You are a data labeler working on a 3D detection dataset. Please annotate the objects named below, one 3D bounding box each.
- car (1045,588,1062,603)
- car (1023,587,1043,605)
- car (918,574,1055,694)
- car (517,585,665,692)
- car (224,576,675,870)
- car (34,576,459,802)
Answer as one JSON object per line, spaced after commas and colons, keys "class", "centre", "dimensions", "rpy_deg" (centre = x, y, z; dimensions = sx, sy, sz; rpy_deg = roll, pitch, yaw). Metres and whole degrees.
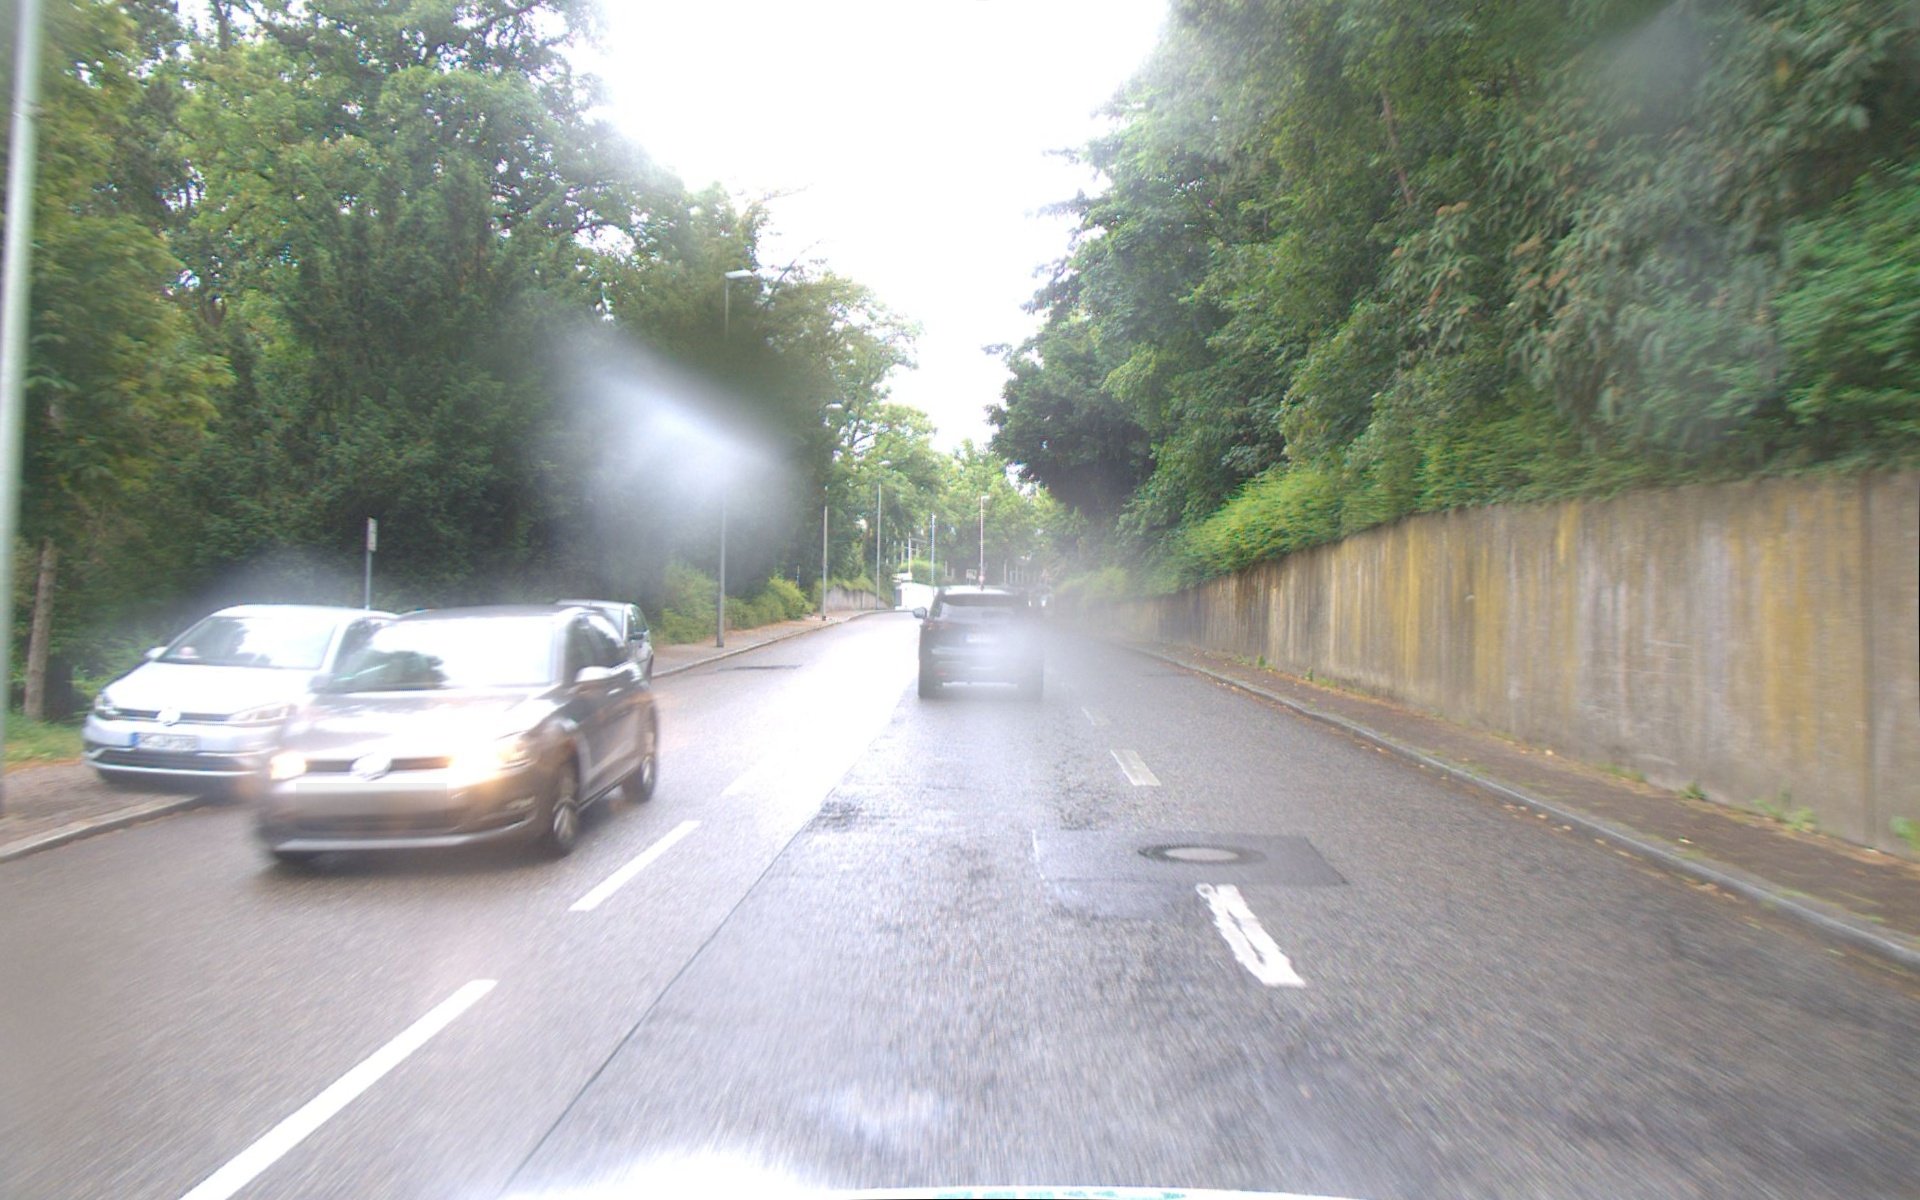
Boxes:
{"class": "car", "centre": [9.624, -0.503, 170.589], "dimensions": [1.640, 1.522, 3.462], "rpy_deg": [0, 0, 5]}
{"class": "car", "centre": [7.234, -0.425, 163.505], "dimensions": [1.792, 1.741, 4.003], "rpy_deg": [1, 0, 5]}
{"class": "car", "centre": [0.362, 0.450, 24.847], "dimensions": [1.889, 1.641, 4.000], "rpy_deg": [0, 0, 0]}
{"class": "car", "centre": [-5.821, 0.556, 26.485], "dimensions": [1.593, 1.525, 3.926], "rpy_deg": [2, 0, -2]}
{"class": "car", "centre": [-3.058, 0.635, 10.797], "dimensions": [1.725, 1.517, 3.999], "rpy_deg": [-1, 0, -1]}
{"class": "car", "centre": [-6.069, 0.656, 14.702], "dimensions": [1.847, 1.640, 4.239], "rpy_deg": [-2, 0, 0]}
